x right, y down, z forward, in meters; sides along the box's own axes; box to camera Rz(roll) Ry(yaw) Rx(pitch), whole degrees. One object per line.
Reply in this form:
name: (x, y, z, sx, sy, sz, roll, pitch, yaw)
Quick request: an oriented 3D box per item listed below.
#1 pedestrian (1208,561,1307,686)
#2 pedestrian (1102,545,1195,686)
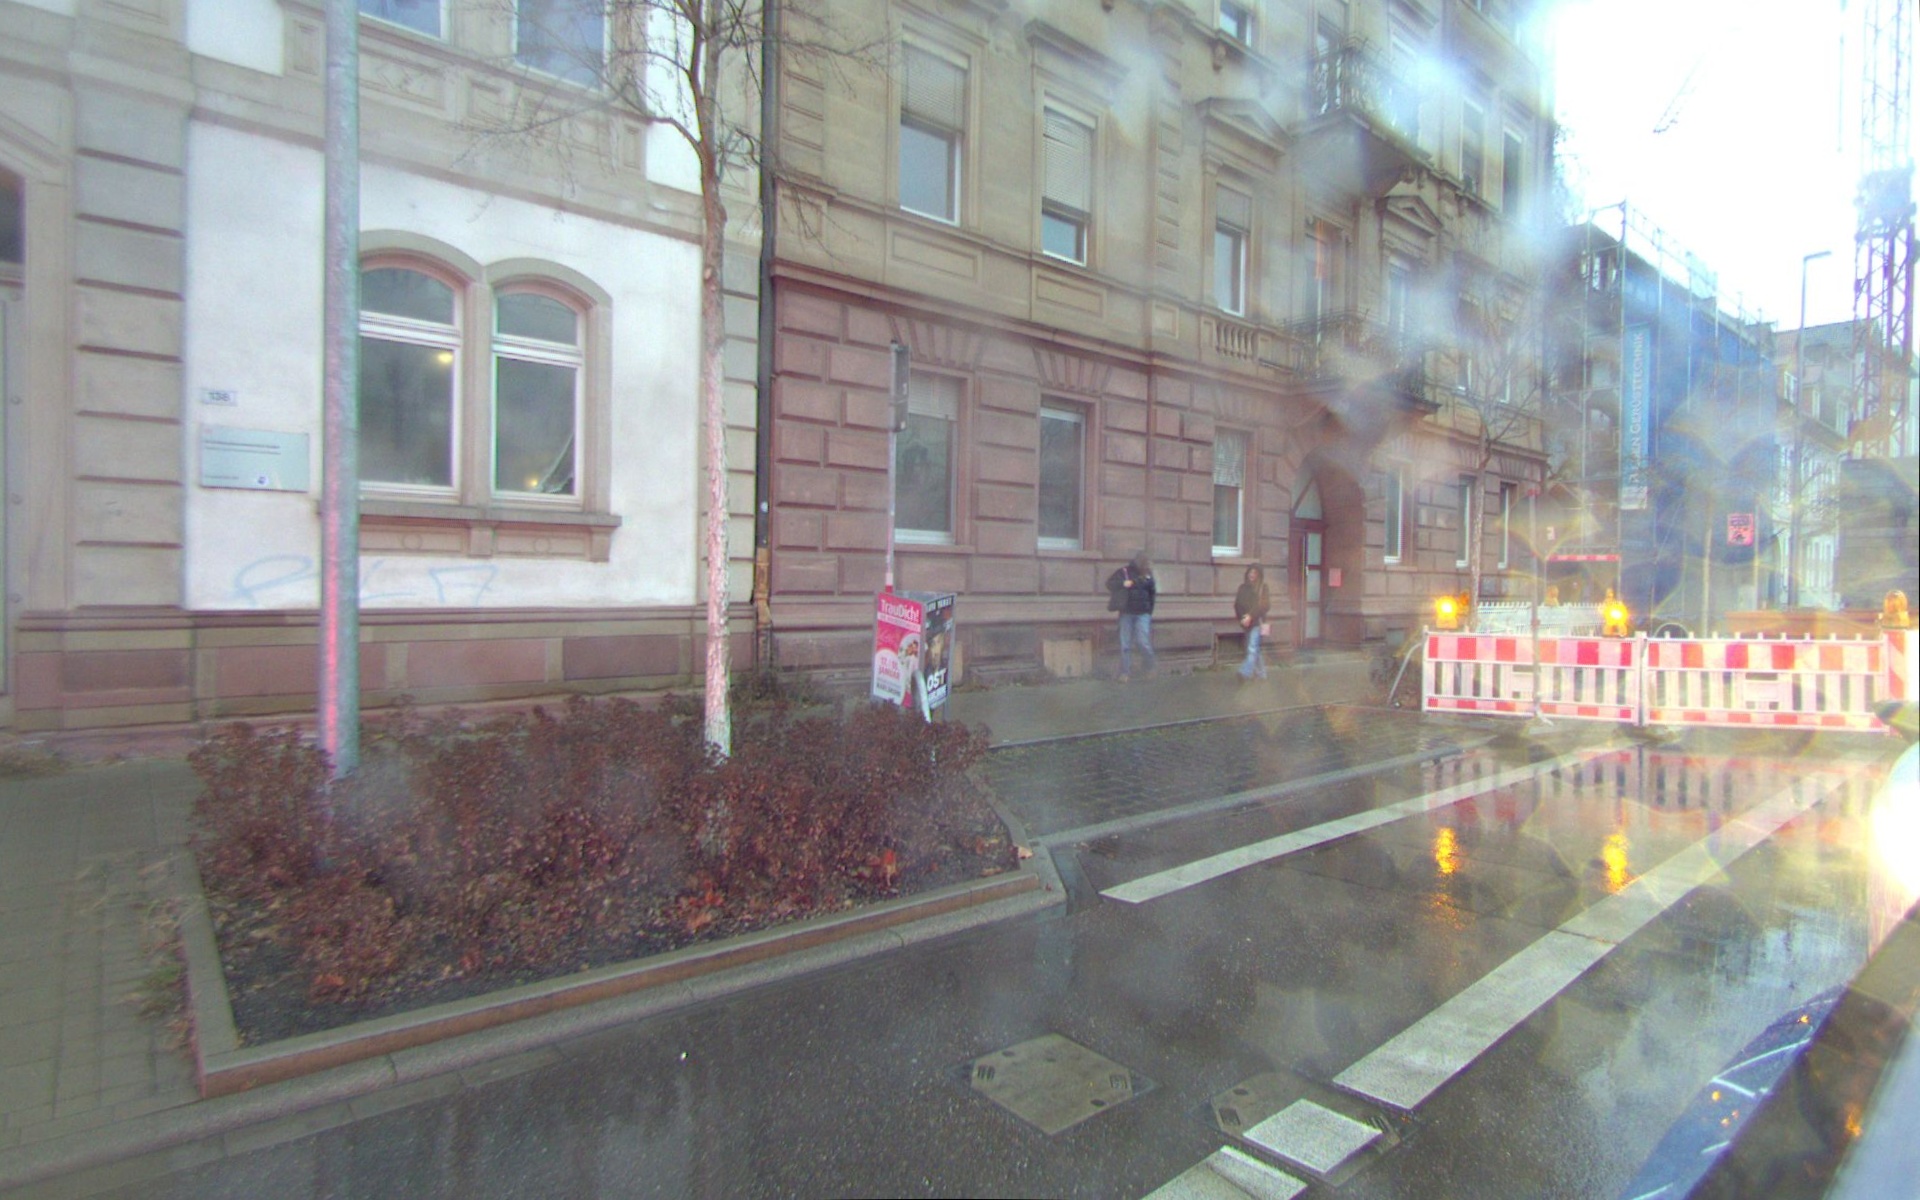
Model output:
pedestrian: (3.926, 0.283, 13.377, 0.913, 1.564, 0.870, 0, 2, -40)
pedestrian: (2.348, 0.168, 12.649, 0.694, 1.693, 0.871, 0, 1, -37)
